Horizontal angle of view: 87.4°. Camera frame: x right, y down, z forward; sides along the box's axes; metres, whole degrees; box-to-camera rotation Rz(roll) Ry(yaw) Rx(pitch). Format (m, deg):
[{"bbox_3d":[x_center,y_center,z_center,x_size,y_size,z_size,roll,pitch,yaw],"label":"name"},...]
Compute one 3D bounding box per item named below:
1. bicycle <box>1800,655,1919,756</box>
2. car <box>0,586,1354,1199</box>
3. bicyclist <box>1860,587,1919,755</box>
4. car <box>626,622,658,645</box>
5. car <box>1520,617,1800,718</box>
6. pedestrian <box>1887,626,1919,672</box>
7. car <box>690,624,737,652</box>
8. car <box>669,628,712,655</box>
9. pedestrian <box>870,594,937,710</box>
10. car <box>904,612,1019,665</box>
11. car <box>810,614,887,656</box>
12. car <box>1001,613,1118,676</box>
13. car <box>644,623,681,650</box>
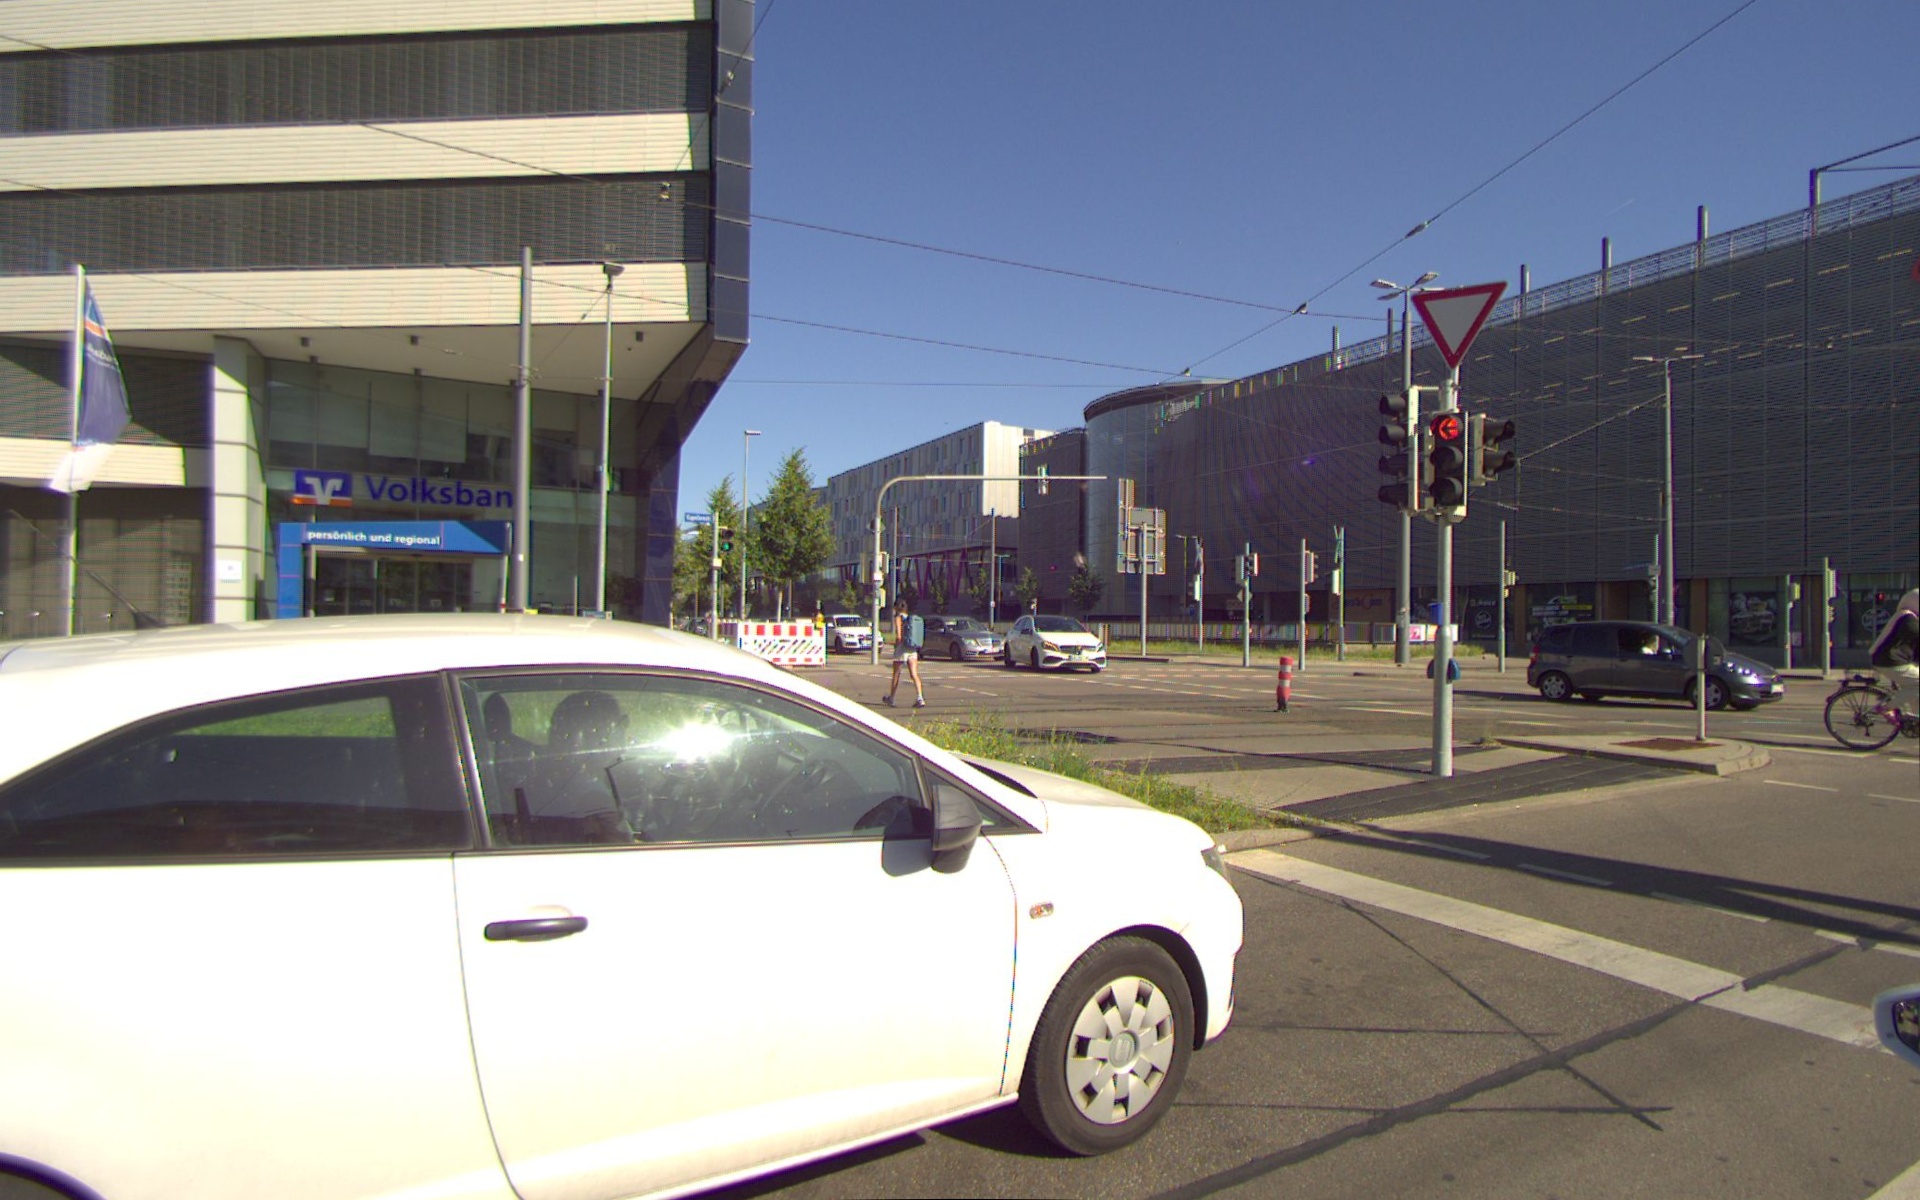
[{"bbox_3d":[10.609,1.166,11.107,0.687,1.050,1.915,1,-1,-32],"label":"bicycle"},{"bbox_3d":[-0.857,0.753,2.772,3.738,1.442,1.624,2,1,-30],"label":"car"},{"bbox_3d":[10.632,0.778,11.175,0.755,1.812,0.758,1,-1,-33],"label":"bicyclist"},{"bbox_3d":[-26.416,2.770,83.390,1.919,1.903,3.910,1,-1,-26],"label":"car"},{"bbox_3d":[12.404,1.122,18.005,1.804,1.545,3.729,2,-1,-34],"label":"car"},{"bbox_3d":[40.140,2.069,42.659,0.804,1.893,0.906,1,-1,13],"label":"pedestrian"},{"bbox_3d":[-15.232,2.325,61.851,1.824,1.673,4.221,1,-1,-28],"label":"car"},{"bbox_3d":[-17.656,2.685,65.754,1.824,1.673,4.221,1,-1,-28],"label":"car"},{"bbox_3d":[-0.877,0.794,15.600,0.704,1.730,0.881,1,-1,-30],"label":"pedestrian"},{"bbox_3d":[-0.032,1.240,33.392,1.976,1.637,4.256,1,-1,-30],"label":"car"},{"bbox_3d":[-4.758,1.464,42.365,1.824,1.673,4.221,1,-1,-28],"label":"car"},{"bbox_3d":[2.484,1.120,26.182,1.879,1.483,4.081,1,-1,-12],"label":"car"},{"bbox_3d":[-22.239,2.706,74.982,1.974,1.873,3.974,1,-1,-26],"label":"car"}]
